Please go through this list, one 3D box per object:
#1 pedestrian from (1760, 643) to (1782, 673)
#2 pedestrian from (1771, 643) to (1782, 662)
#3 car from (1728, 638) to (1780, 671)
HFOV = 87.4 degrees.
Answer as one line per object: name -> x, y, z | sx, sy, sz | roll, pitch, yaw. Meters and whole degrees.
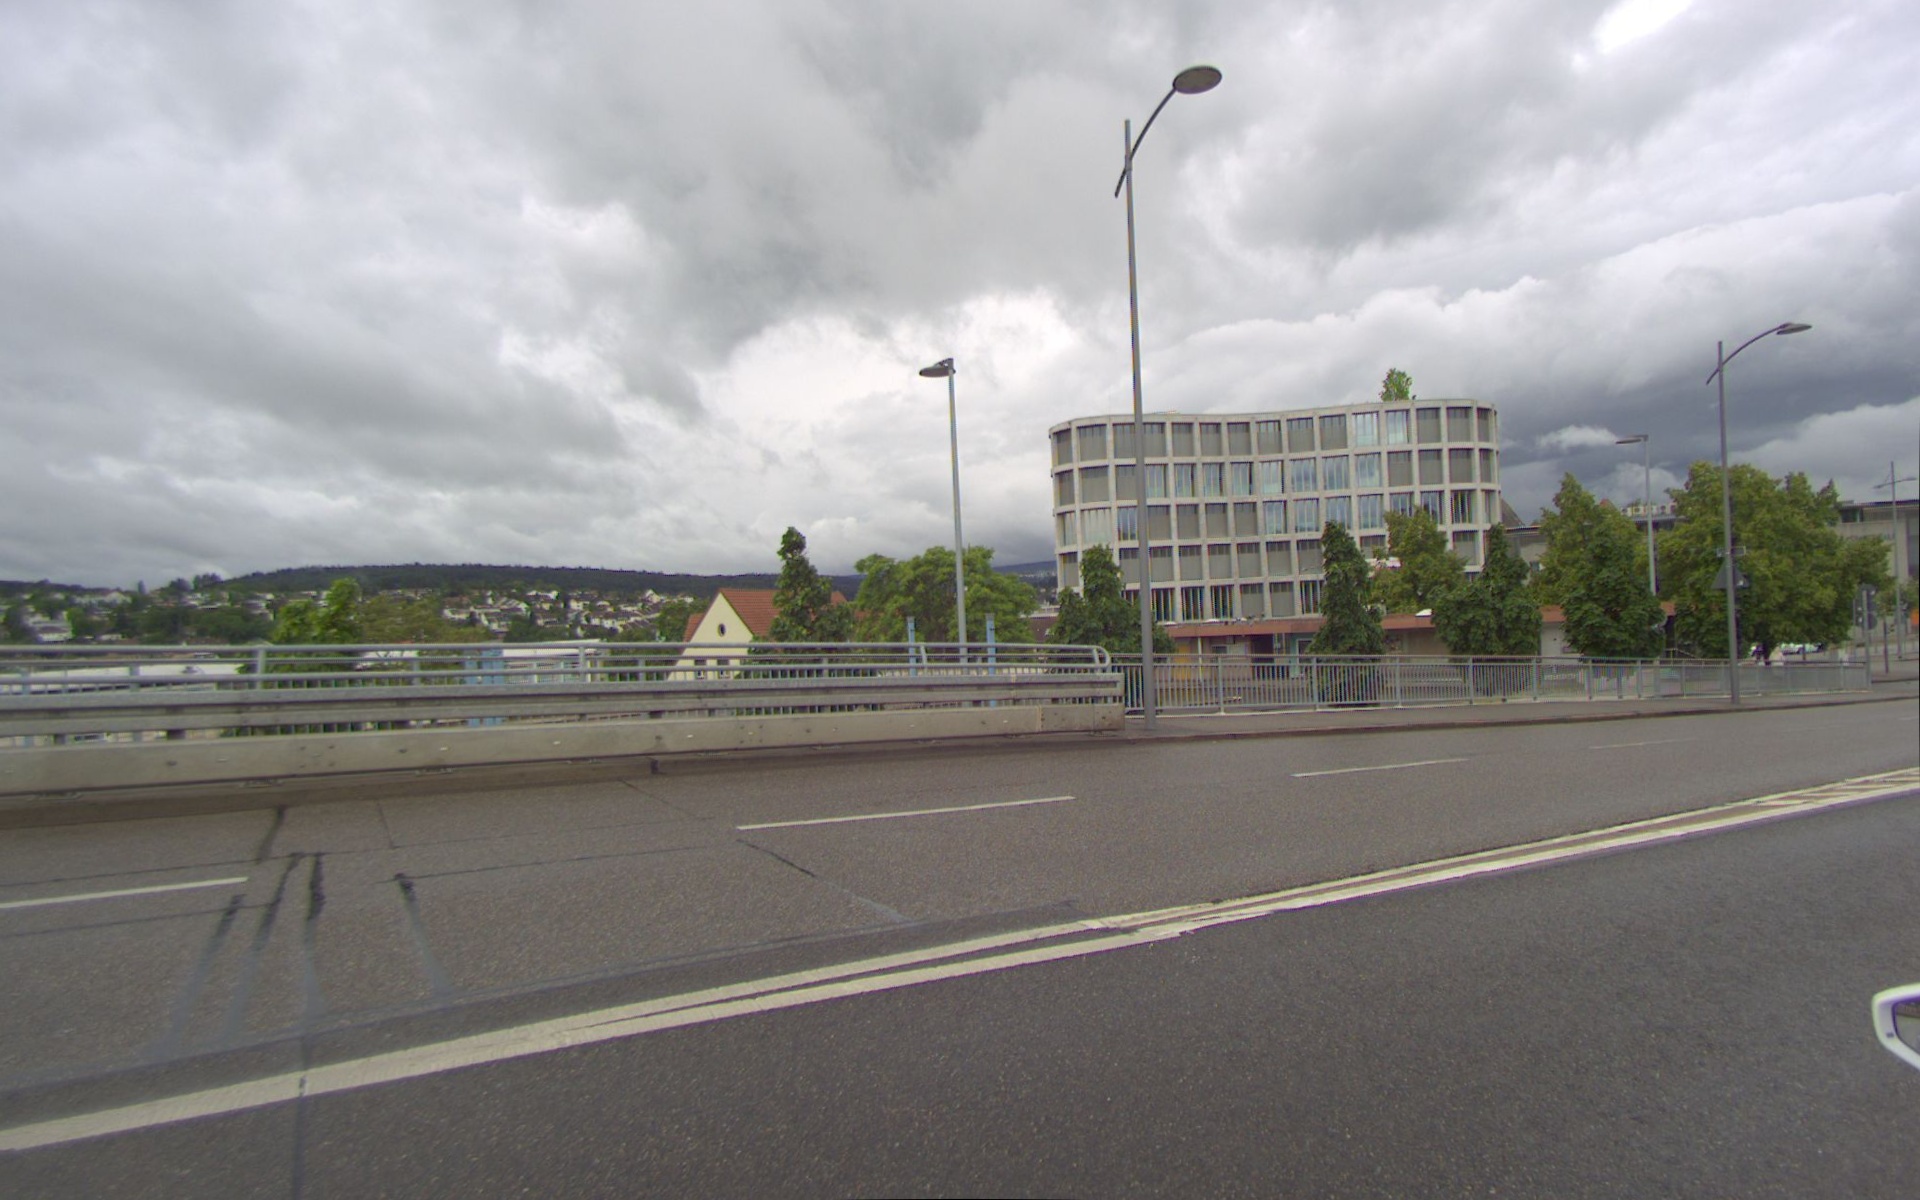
pedestrian -> 39.333, 2.790, 48.724 | 0.524, 1.427, 0.646 | -1, -1, -27
pedestrian -> 39.518, 2.550, 48.631 | 0.294, 0.885, 0.300 | -1, -1, -27
car -> 58.550, 3.992, 74.143 | 1.962, 2.041, 3.997 | 3, 2, 23
